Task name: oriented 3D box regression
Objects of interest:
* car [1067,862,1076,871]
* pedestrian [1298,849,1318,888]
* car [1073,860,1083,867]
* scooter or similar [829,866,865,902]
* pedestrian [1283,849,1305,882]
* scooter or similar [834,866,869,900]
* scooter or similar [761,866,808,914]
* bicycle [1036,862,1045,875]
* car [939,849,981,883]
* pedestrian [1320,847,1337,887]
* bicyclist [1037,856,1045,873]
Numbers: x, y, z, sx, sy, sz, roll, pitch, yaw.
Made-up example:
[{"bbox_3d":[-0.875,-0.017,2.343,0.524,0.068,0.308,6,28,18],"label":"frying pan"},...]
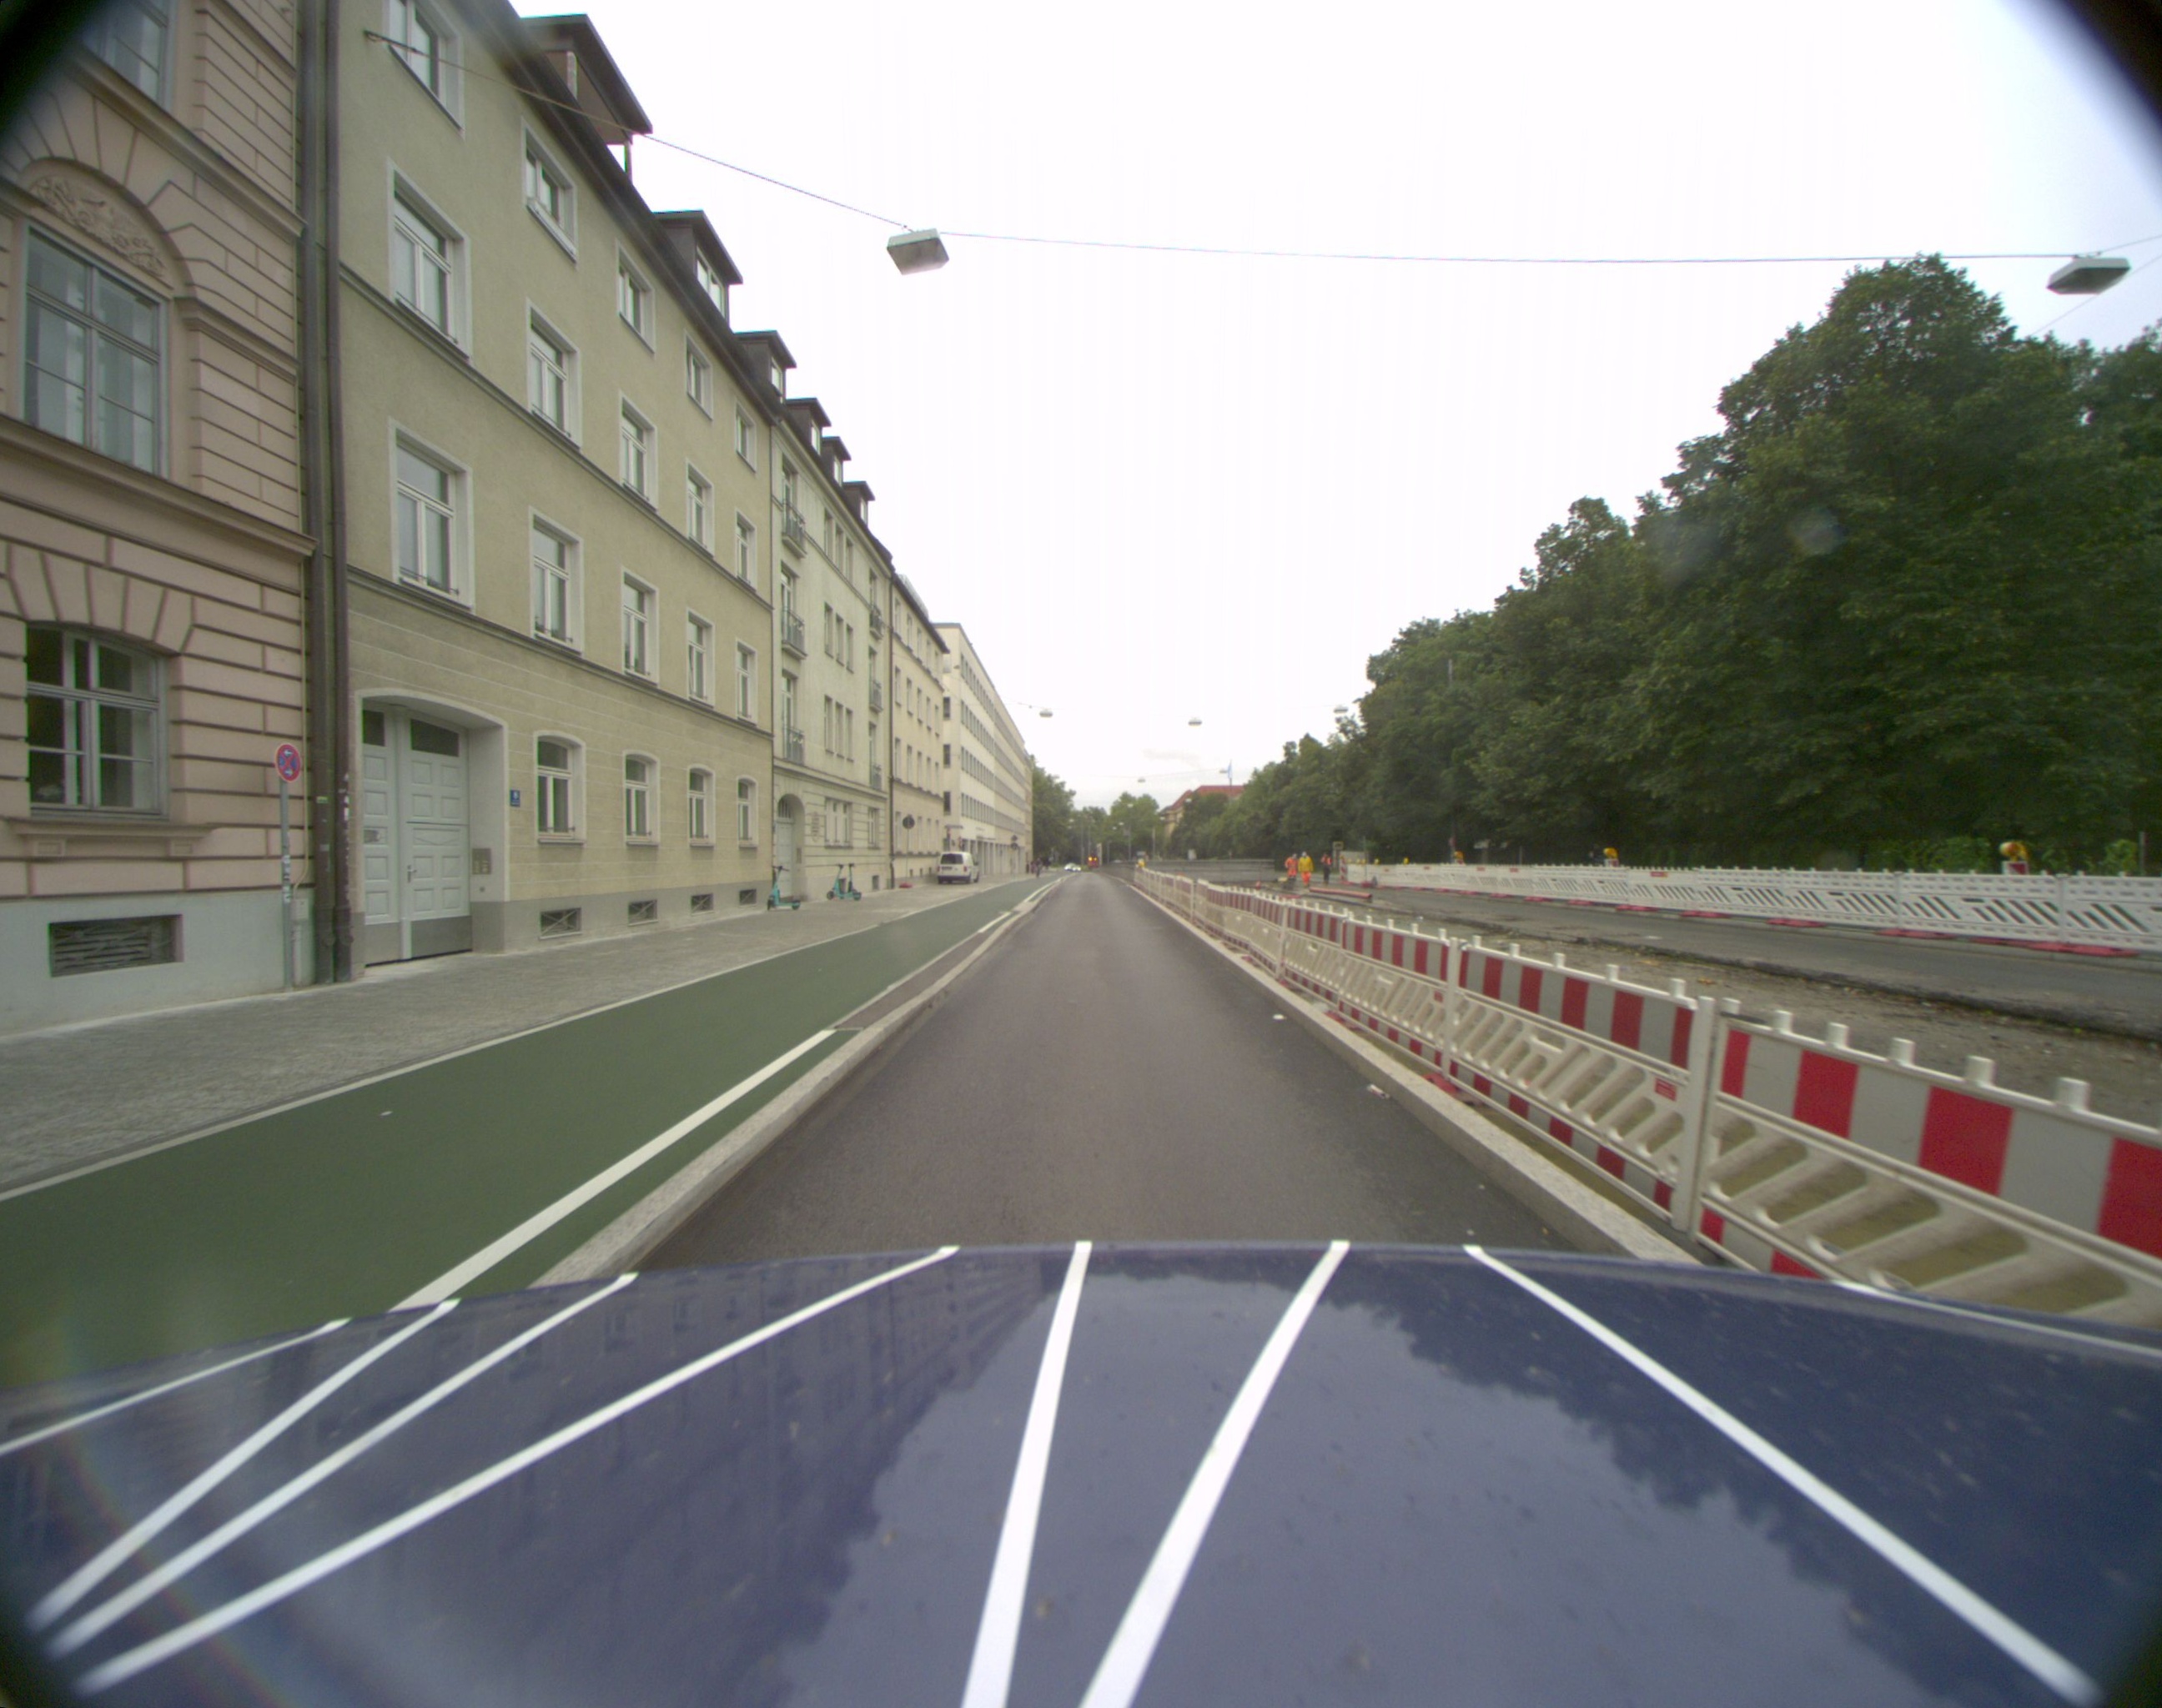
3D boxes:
[{"bbox_3d":[-2.476,3.216,192.888,1.998,2.002,4.000,-2,1,1],"label":"car"},{"bbox_3d":[10.885,0.680,36.513,0.859,1.826,0.876,0,1,12],"label":"pedestrian"},{"bbox_3d":[-0.629,2.116,166.366,1.759,1.461,3.998,-2,0,-4],"label":"car"},{"bbox_3d":[-7.866,0.998,25.556,1.078,1.185,0.453,0,1,-29],"label":"scooter or similar"},{"bbox_3d":[10.957,0.590,39.120,0.900,1.678,0.911,0,1,4],"label":"pedestrian"},{"bbox_3d":[-8.123,1.011,26.893,1.079,1.185,0.436,-1,1,-39],"label":"scooter or similar"},{"bbox_3d":[-8.091,0.970,20.759,0.552,1.238,1.079,0,1,35],"label":"scooter or similar"},{"bbox_3d":[-3.415,1.248,64.453,0.632,1.031,2.016,0,0,-6],"label":"bicycle"},{"bbox_3d":[-6.831,0.646,43.277,1.766,1.821,4.000,-1,0,0],"label":"car"},{"bbox_3d":[12.315,0.629,37.771,0.666,1.959,0.807,0,1,26],"label":"pedestrian"},{"bbox_3d":[-3.376,0.868,64.472,0.632,1.459,0.652,0,1,-6],"label":"bicyclist"}]
